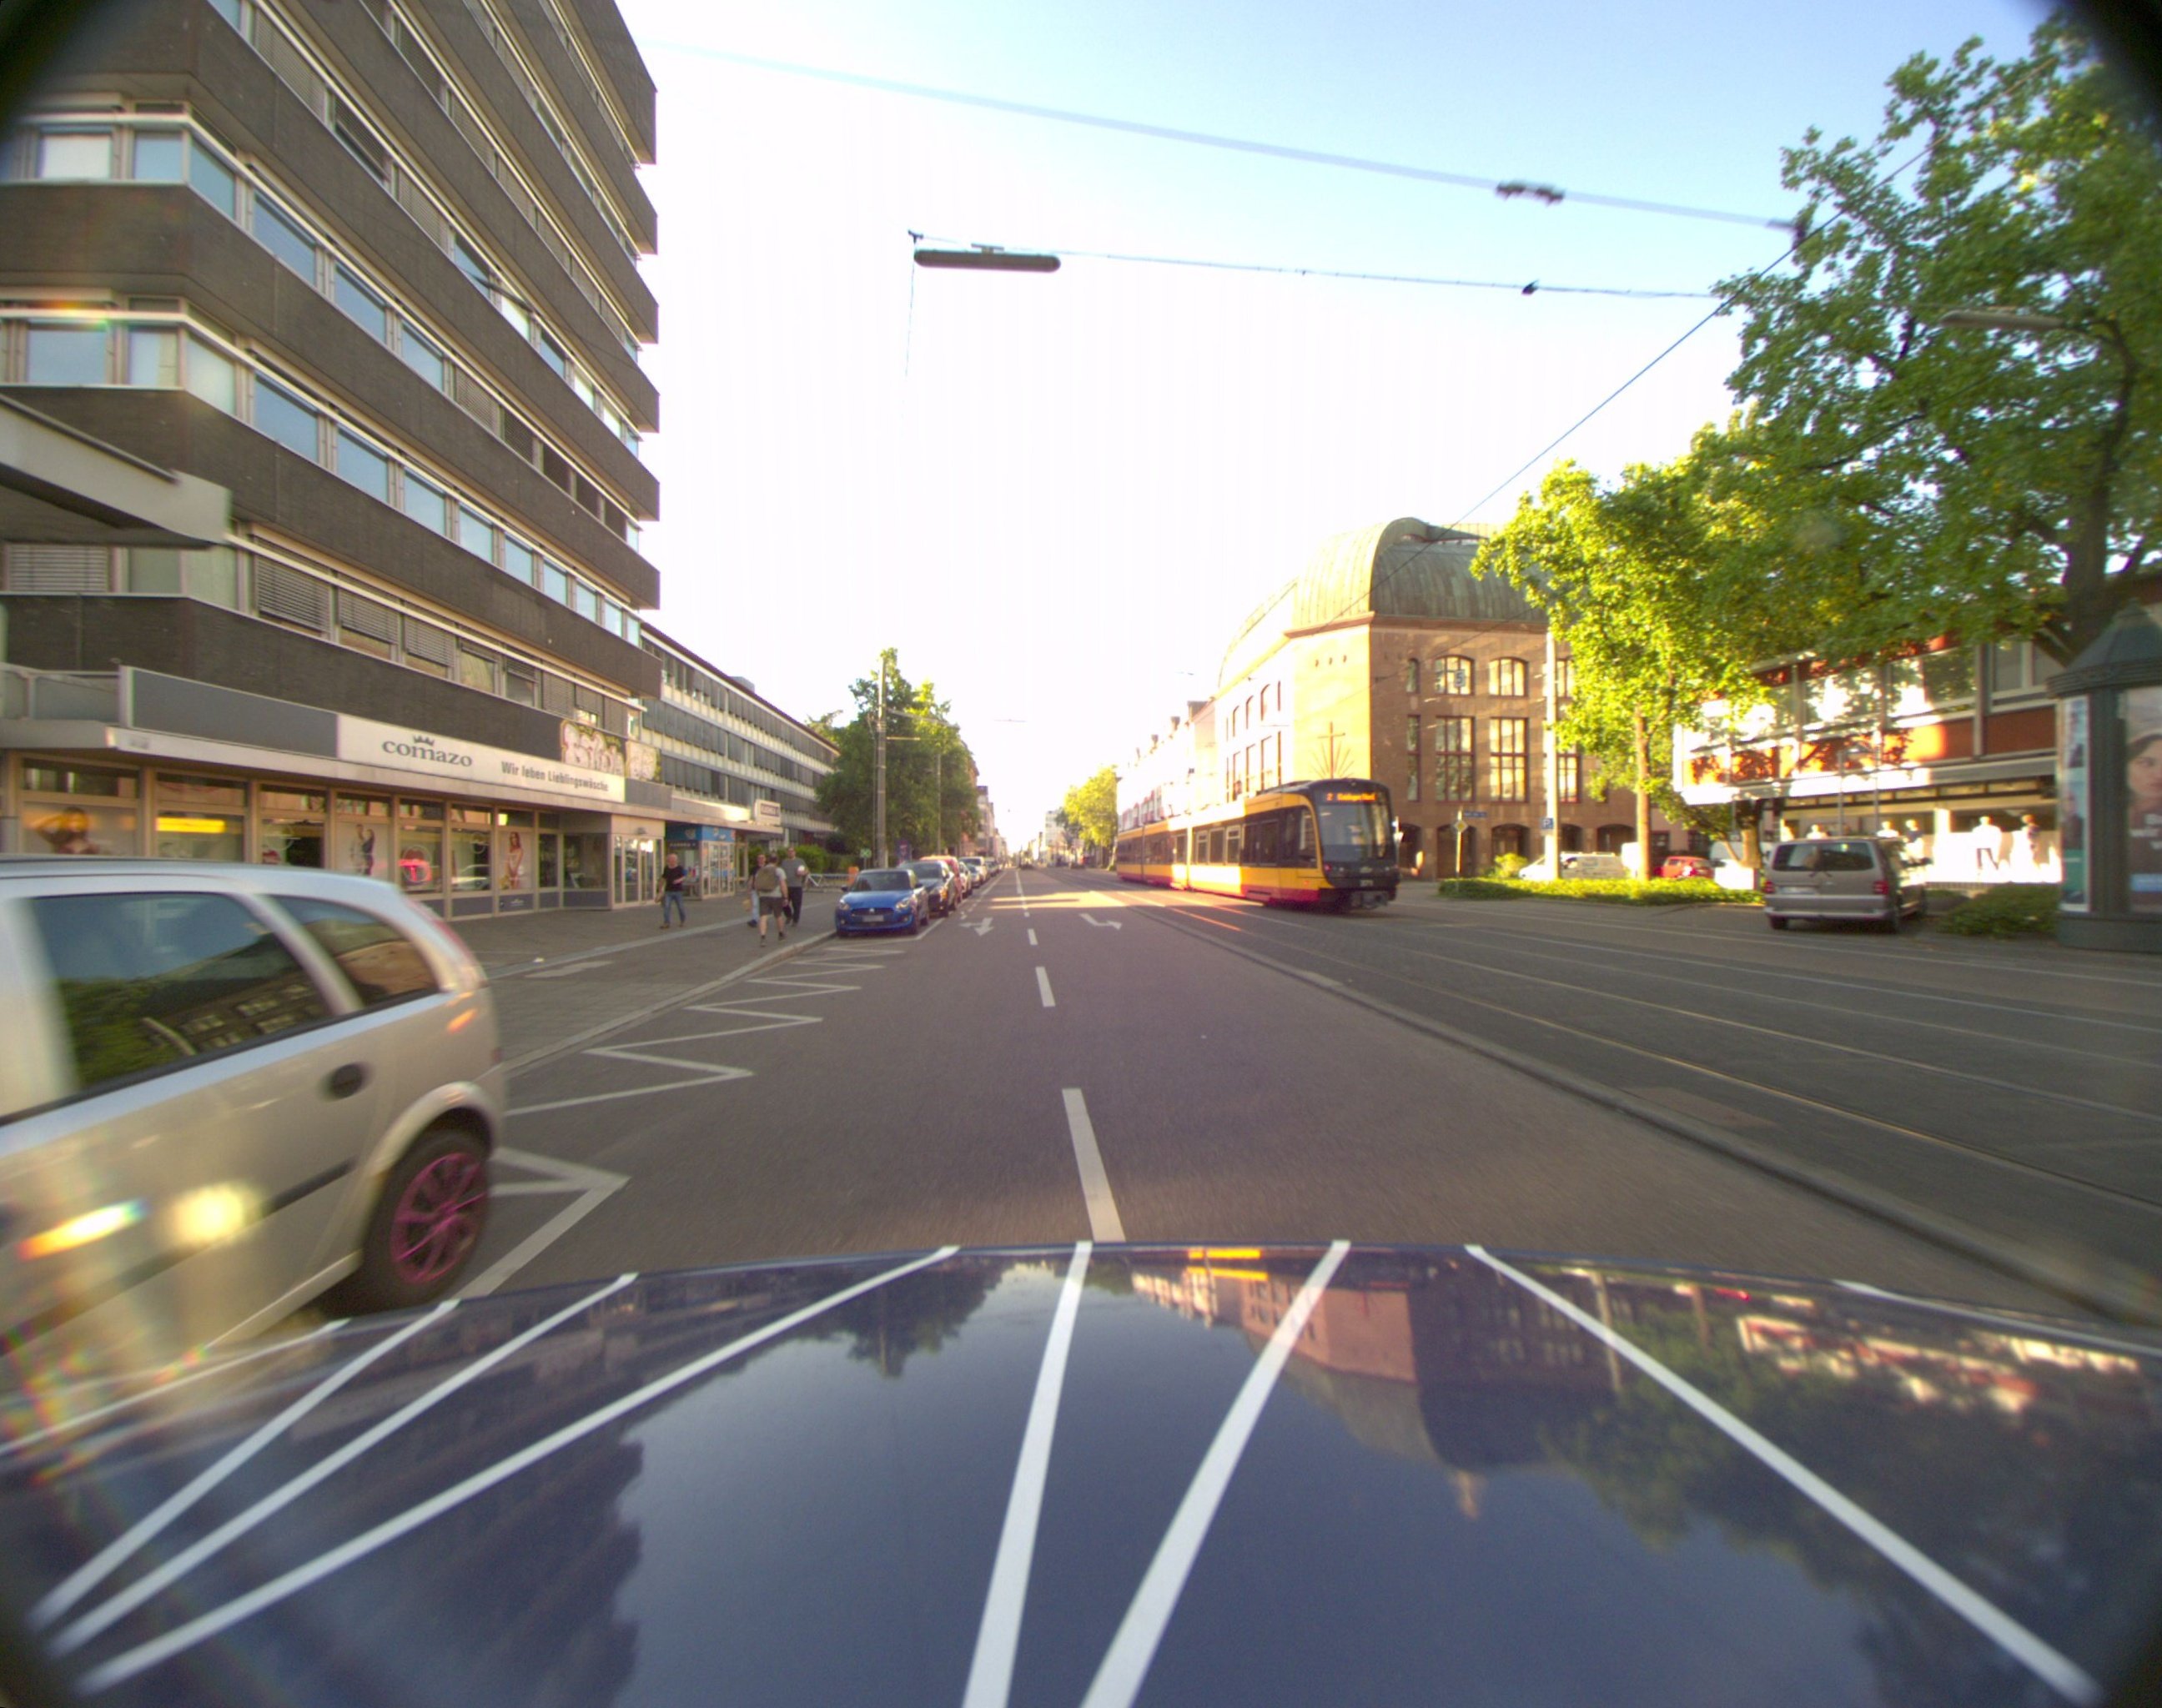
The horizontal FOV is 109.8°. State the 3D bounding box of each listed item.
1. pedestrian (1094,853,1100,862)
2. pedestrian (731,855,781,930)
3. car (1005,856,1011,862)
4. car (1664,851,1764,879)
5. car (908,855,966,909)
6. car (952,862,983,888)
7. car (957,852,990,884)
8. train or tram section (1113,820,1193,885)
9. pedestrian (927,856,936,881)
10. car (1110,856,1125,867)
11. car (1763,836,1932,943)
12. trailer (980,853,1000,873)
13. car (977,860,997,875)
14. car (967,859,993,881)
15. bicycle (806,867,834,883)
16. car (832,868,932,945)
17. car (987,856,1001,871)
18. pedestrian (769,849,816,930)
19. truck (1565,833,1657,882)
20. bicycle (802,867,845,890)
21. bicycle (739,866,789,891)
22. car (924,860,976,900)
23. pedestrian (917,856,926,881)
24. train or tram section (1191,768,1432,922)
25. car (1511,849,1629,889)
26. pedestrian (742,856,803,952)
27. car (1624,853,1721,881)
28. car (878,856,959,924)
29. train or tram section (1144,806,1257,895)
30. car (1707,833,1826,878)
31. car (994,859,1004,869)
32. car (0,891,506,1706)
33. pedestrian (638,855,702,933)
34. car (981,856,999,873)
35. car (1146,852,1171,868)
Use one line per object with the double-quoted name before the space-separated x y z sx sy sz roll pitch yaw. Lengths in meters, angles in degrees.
"pedestrian" 3.127 0.701 145.953 1.096 1.768 1.252 0 0 0
"pedestrian" -7.719 0.890 18.091 0.813 1.746 1.032 0 0 -5
"car" -20.124 1.495 209.375 1.420 1.612 3.625 -2 0 -5
"car" 37.804 0.640 45.534 1.856 1.564 4.527 0 0 -9
"car" -5.211 0.957 27.953 1.680 1.797 4.246 -2 0 -5
"car" -6.867 1.244 46.301 1.679 1.396 4.164 -2 1 -6
"car" -7.396 0.937 52.539 1.882 2.009 4.903 -2 0 -5
"train or tram section" 4.204 -0.104 47.687 2.767 3.530 12.461 0 0 -5
"pedestrian" -10.304 1.015 52.327 0.494 1.703 0.437 2 0 -5
"car" 5.878 1.228 122.694 1.932 1.787 4.383 0 0 -2
"car" 16.769 0.639 16.533 5.130 1.918 1.849 -3 1 -36
"trailer" -10.395 0.977 87.093 1.784 2.136 5.314 -2 0 -3
"car" -9.388 1.369 75.899 1.785 1.420 4.210 -1 0 -5
"car" -7.792 1.210 58.616 1.688 1.484 3.909 -2 1 -4
"bicycle" -16.102 1.277 46.925 1.623 0.954 0.367 0 1 -34
"car" -4.539 1.129 17.834 1.642 1.484 3.793 -3 0 -6
"car" -11.170 1.147 97.896 1.698 1.832 4.693 -2 0 -5
"pedestrian" -6.894 0.828 18.176 0.796 1.888 1.032 0 0 -5
"truck" 31.399 0.183 45.185 1.856 2.747 4.527 0 0 -9
"bicycle" -12.305 1.162 36.288 1.887 1.090 0.469 0 1 -7
"bicycle" -14.582 1.124 35.005 2.021 1.089 0.637 1 0 -12
"car" -5.764 1.098 33.977 1.792 1.586 4.325 -2 0 -4
"pedestrian" -10.997 1.008 52.319 0.494 1.703 0.437 2 0 -5
"train or tram section" 6.262 -0.207 23.919 2.684 3.530 12.835 0 0 -5
"car" 25.723 0.746 40.062 4.994 1.957 2.130 0 3 -7
"pedestrian" -5.783 0.908 14.295 0.789 1.727 0.945 -1 0 -5
"car" 35.014 0.752 45.163 1.856 1.564 4.527 0 0 -9
"car" -4.794 0.987 22.992 1.826 1.747 4.472 -2 1 -5
"train or tram section" 5.250 -0.149 35.909 2.684 3.530 11.121 0 0 -5
"car" 40.857 0.114 45.523 1.856 2.528 5.411 0 0 -7
"car" -11.791 1.401 109.603 1.420 1.425 3.870 -2 0 -5
"car" -3.022 0.970 1.108 1.642 1.605 3.943 -1 0 -6
"pedestrian" -9.361 0.896 17.357 0.903 1.703 1.032 2 0 -5
"car" -9.782 1.151 82.218 1.785 1.735 4.472 -2 0 -6
"car" 8.865 0.655 87.254 1.965 1.690 4.558 -2 0 -6
